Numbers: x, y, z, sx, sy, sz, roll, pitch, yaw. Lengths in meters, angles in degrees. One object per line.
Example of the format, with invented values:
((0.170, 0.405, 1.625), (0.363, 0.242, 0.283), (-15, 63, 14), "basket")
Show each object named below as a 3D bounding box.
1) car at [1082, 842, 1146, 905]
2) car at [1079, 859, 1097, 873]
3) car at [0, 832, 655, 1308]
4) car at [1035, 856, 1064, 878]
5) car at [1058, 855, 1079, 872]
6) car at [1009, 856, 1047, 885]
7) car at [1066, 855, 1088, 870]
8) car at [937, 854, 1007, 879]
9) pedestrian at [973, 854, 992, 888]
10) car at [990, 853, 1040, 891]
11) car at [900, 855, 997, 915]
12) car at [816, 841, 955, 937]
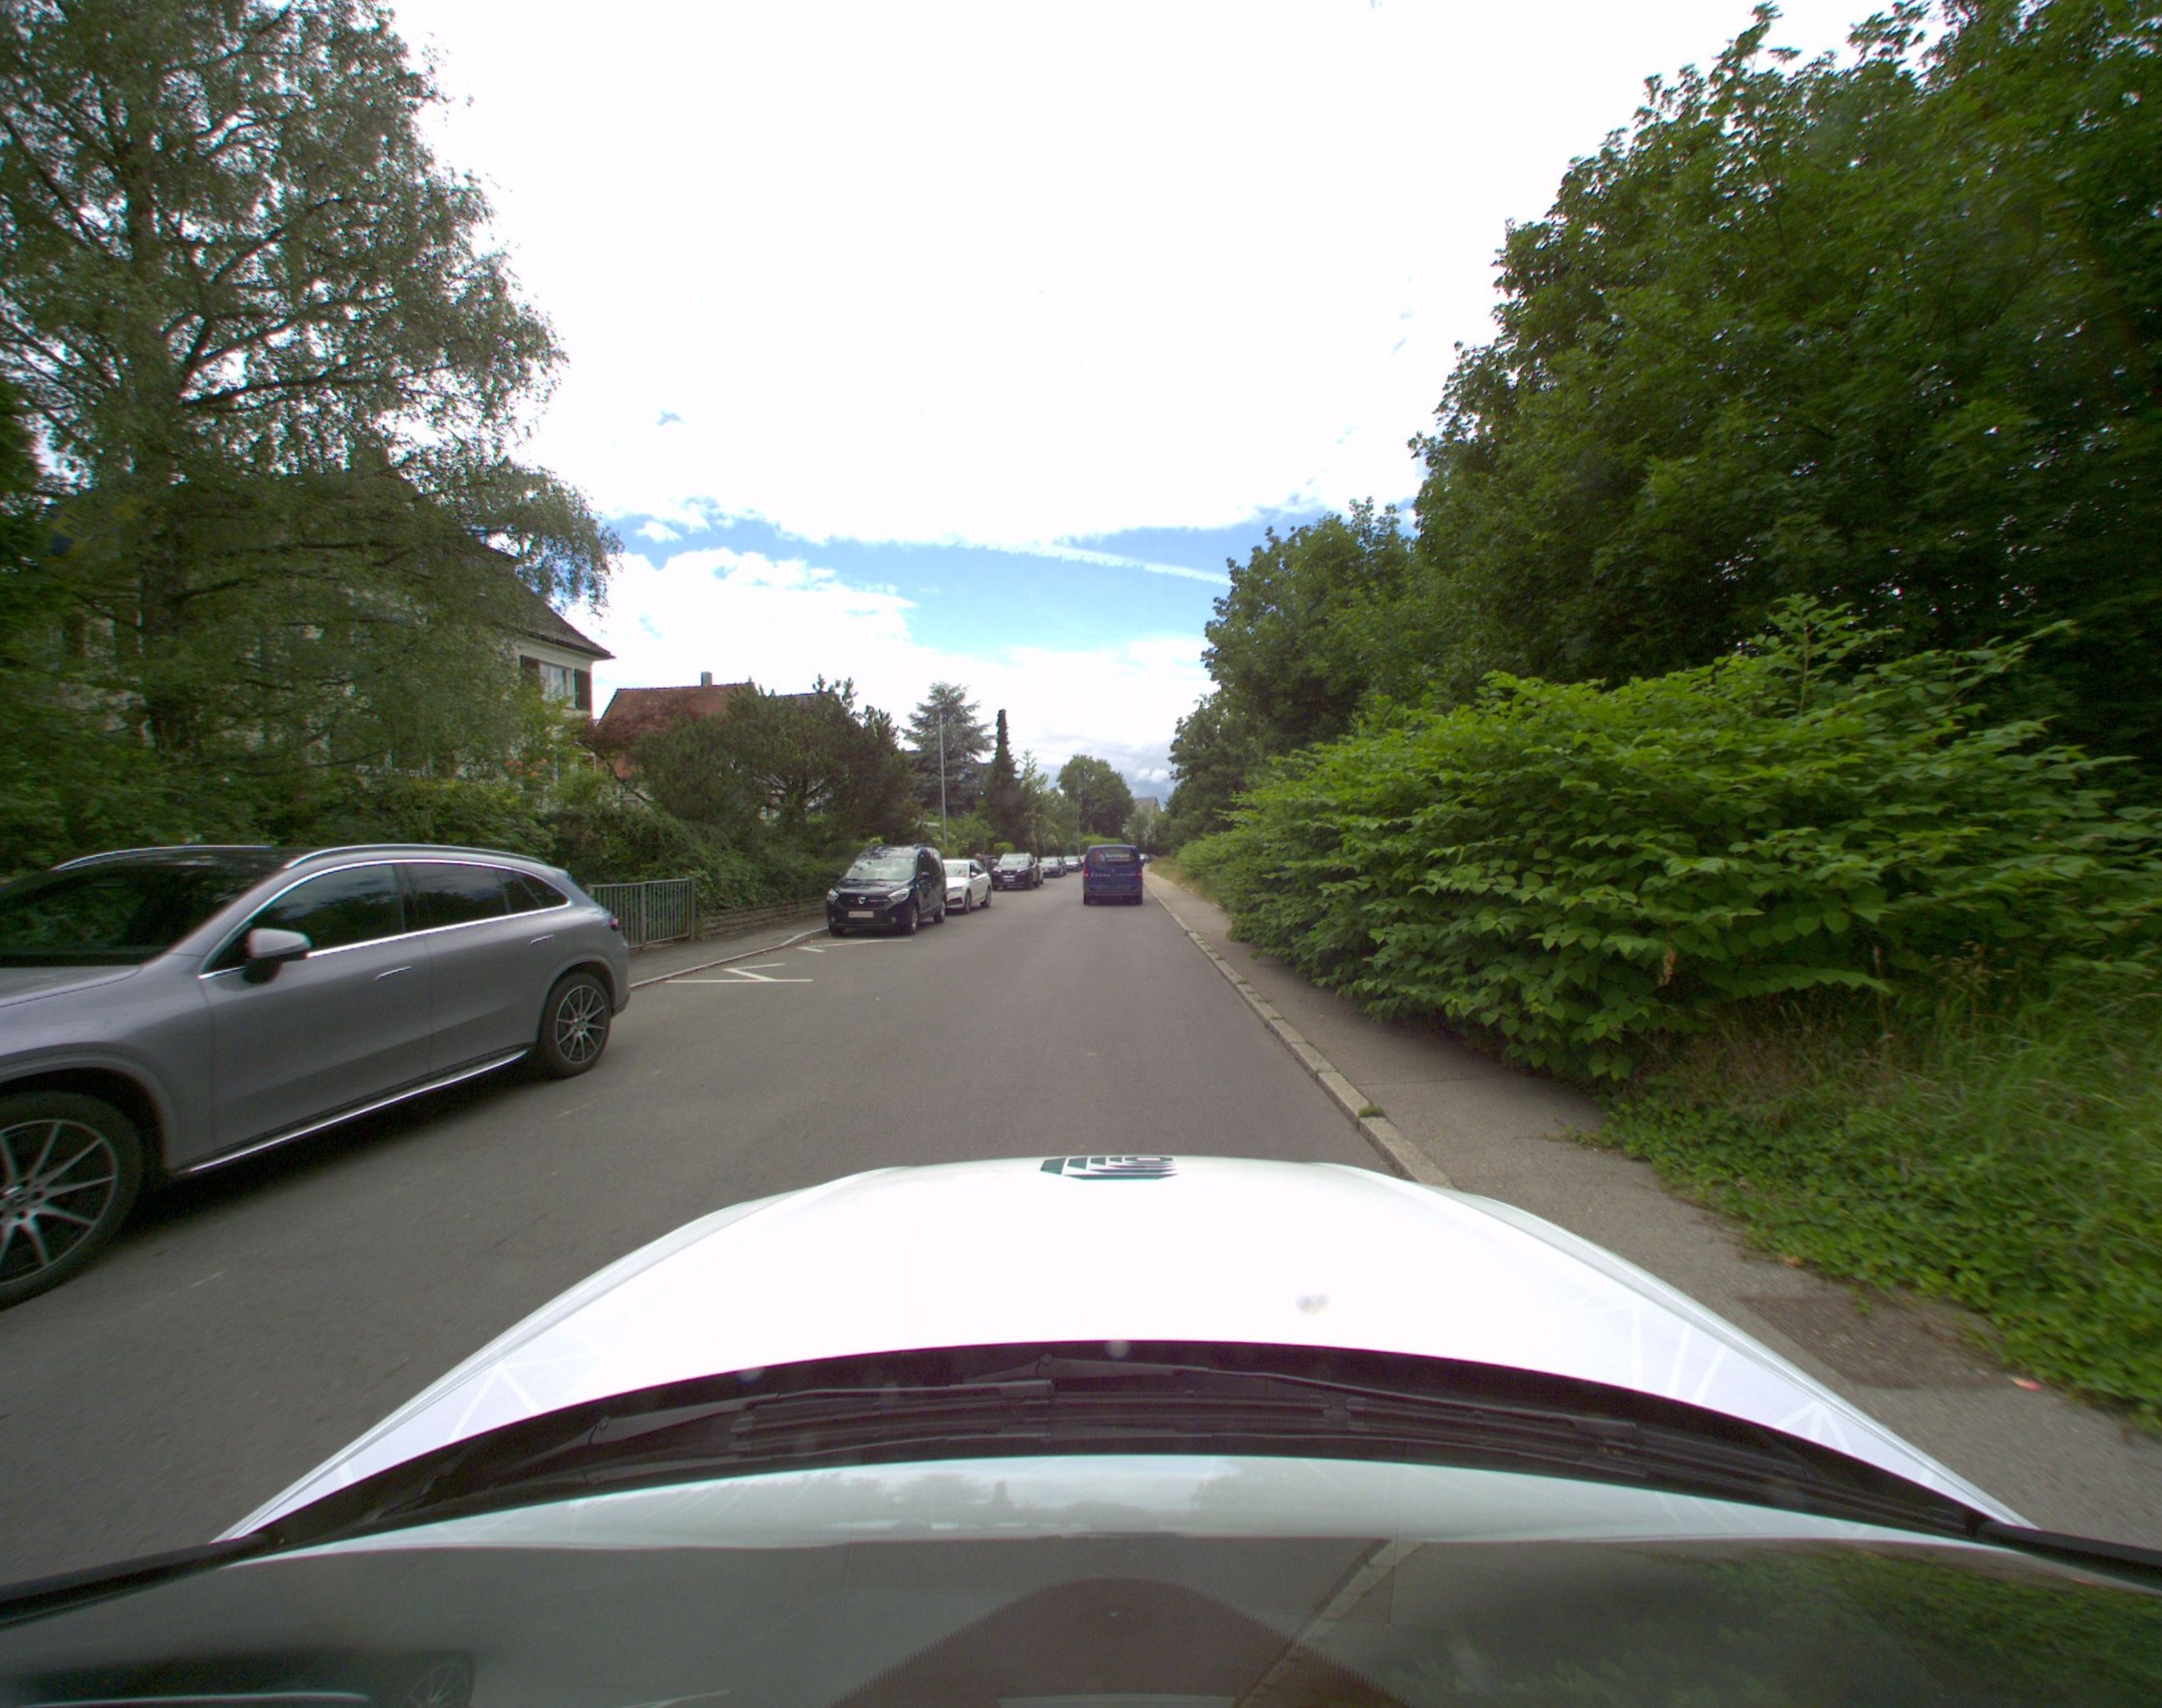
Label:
((1.046, 0.596, 26.885), (1.929, 1.880, 4.531), (-1, 0, 1), "car")
((0.836, 1.317, 93.355), (1.535, 1.514, 3.651), (-1, 0, 7), "car")
((-4.486, 0.739, 4.322), (1.789, 1.607, 4.733), (-1, 0, 2), "car")
((-2.219, 0.901, 57.577), (1.700, 1.416, 4.152), (-1, 0, 2), "car")
((-1.109, 0.850, 74.616), (1.700, 1.410, 4.163), (-1, 0, 2), "car")
((-2.889, 0.866, 45.114), (1.700, 1.511, 3.948), (-1, 0, 2), "car")
((-0.372, 0.873, 85.568), (1.697, 1.514, 4.372), (-1, 0, 7), "car")
((-6.835, 0.758, 51.210), (3.956, 1.547, 1.850), (0, 0, 16), "car")
((-4.683, 0.797, 38.832), (0.766, 1.574, 0.821), (-1, 0, 3), "pedestrian")
((-3.033, 0.778, 38.281), (1.784, 1.664, 4.394), (-1, 0, 2), "car")
((-3.657, 0.810, 23.341), (1.699, 1.511, 4.560), (-1, 0, 4), "car")
((-4.035, 0.664, 17.533), (1.699, 1.799, 4.301), (-1, 0, 3), "car")
